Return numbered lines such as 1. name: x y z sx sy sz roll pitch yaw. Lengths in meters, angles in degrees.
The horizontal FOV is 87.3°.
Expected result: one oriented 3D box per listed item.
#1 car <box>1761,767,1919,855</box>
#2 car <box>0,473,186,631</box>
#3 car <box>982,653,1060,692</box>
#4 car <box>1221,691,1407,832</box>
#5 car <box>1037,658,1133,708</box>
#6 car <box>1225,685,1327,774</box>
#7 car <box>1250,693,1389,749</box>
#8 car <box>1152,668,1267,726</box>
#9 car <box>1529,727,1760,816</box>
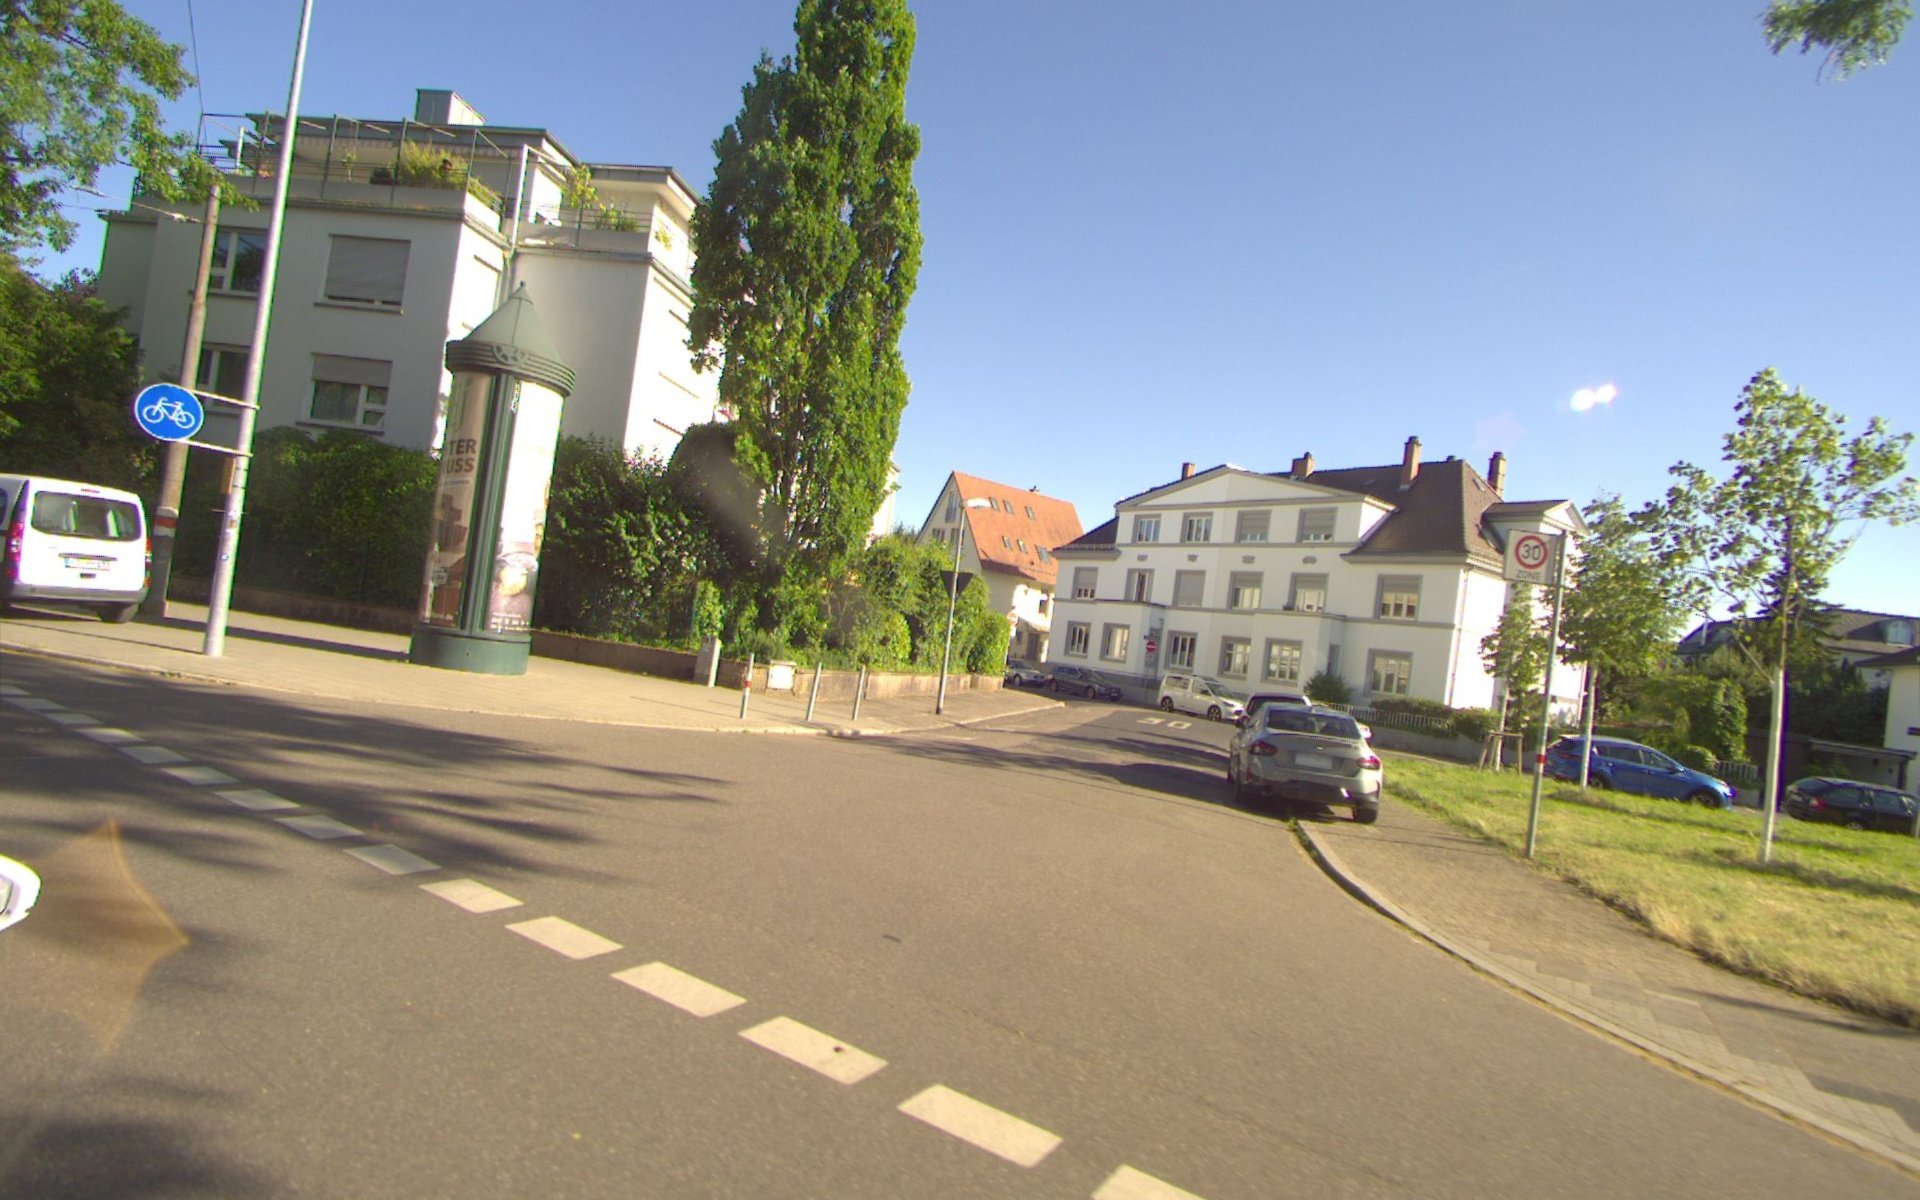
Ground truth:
1. car: 24.117 5.617 26.119 4.676 1.667 2.004 7 -3 11
2. car: -13.282 -0.822 13.543 4.662 1.767 2.031 7 -2 16
3. car: 3.281 3.911 54.748 1.984 1.537 3.962 9 -3 -36
4. car: 4.907 2.175 14.592 1.931 1.384 4.532 7 -3 14
5. car: 6.171 4.103 50.188 1.984 1.804 4.558 9 -3 -36
6. car: 6.894 2.726 21.766 1.806 1.527 4.299 5 -3 20
7. car: 13.855 4.662 39.051 1.982 1.444 4.723 9 -4 -34
8. car: 10.729 4.173 43.568 1.982 1.862 4.518 9 -4 -34
9. car: 18.578 4.633 27.556 4.665 1.487 2.068 7 -2 12
